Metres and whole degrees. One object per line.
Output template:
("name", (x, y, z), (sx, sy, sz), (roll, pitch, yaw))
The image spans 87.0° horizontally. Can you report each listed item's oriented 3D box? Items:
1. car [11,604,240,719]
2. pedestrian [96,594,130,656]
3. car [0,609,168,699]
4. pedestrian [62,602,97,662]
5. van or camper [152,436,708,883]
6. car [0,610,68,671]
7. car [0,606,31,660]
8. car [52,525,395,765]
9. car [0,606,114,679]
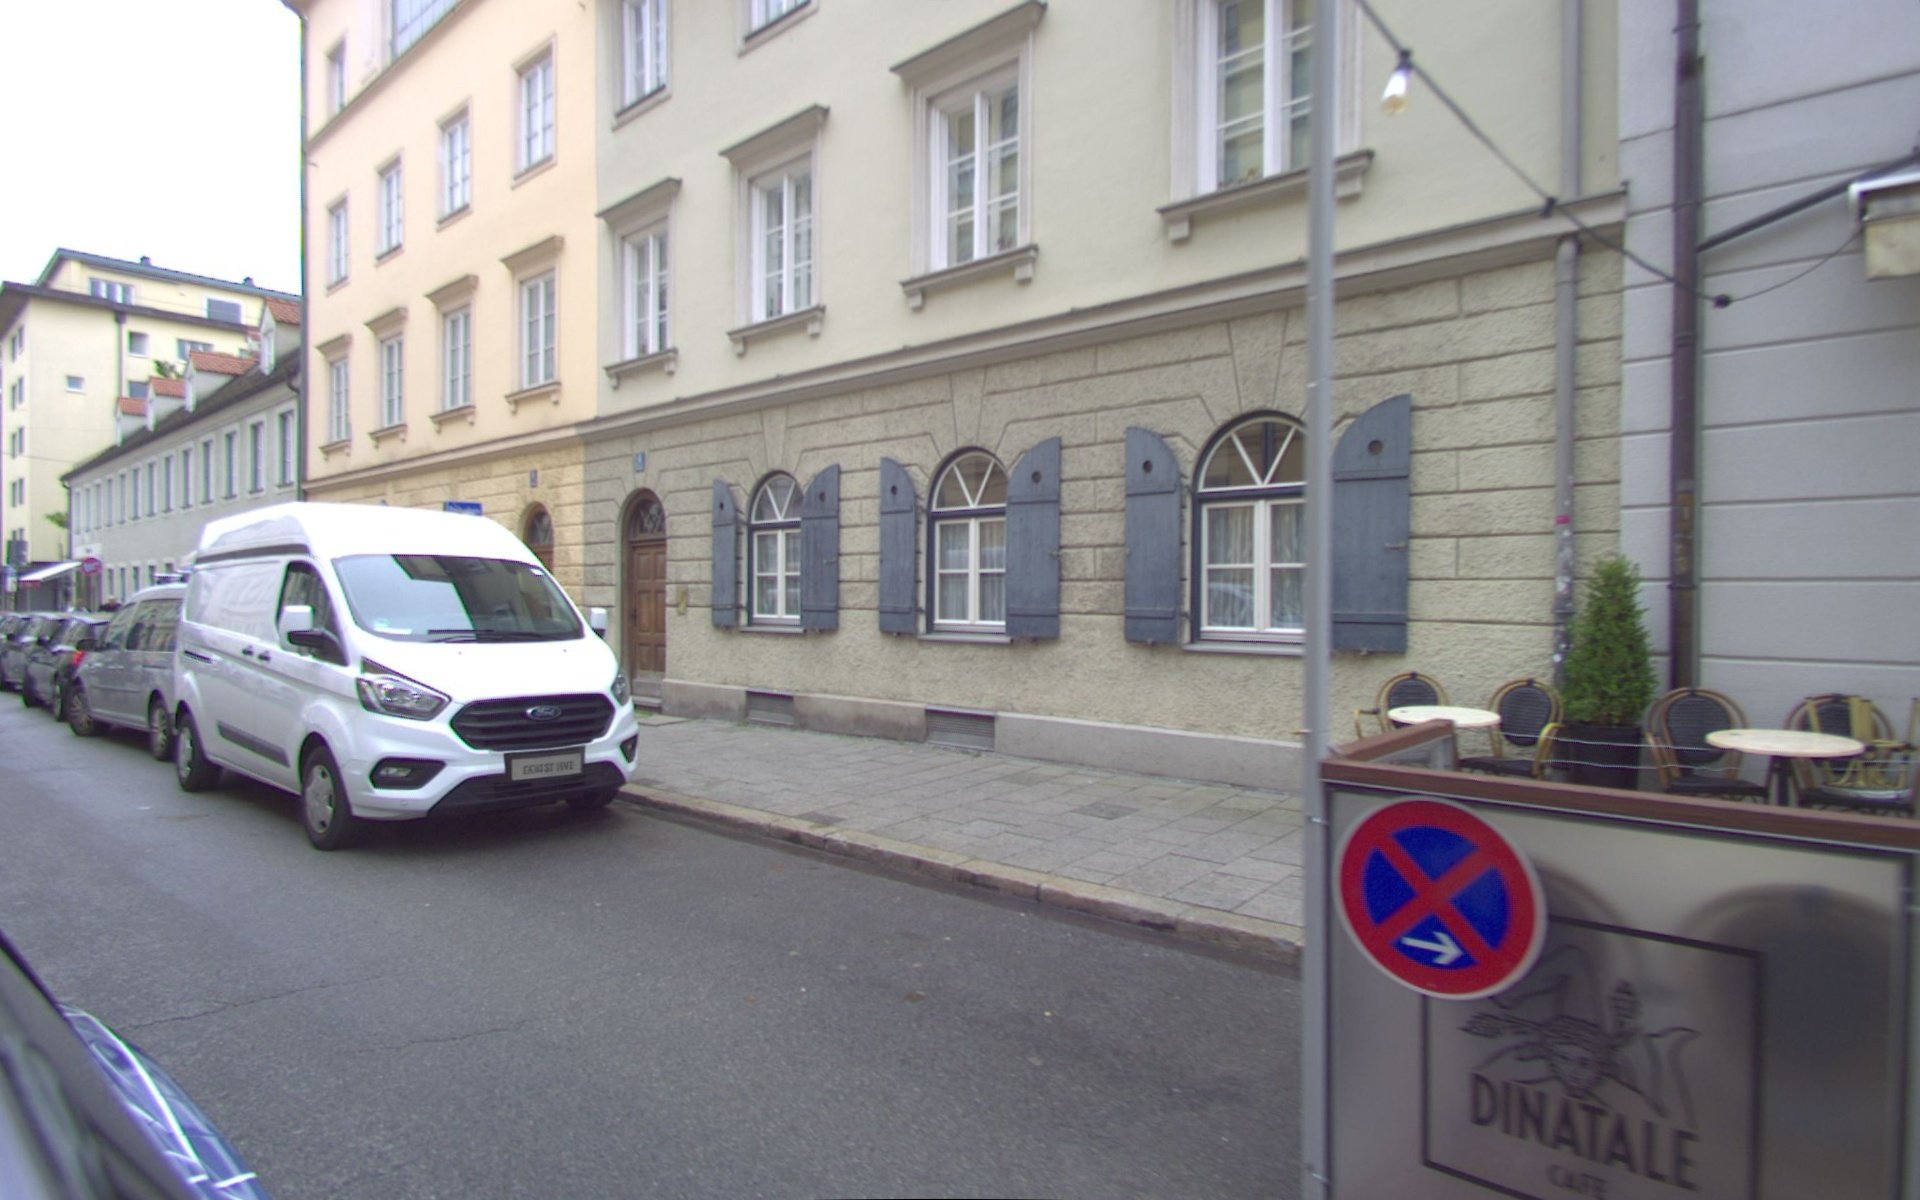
("car", (-12.276, 0.790, 14.794), (4.266, 1.412, 1.839), (0, 0, 40))
("pedestrian", (-23.751, 0.696, 28.372), (0.805, 1.711, 0.574), (-1, -1, 38))
("car", (-16.139, 0.886, 18.383), (4.264, 1.412, 1.839), (0, 0, 39))
("pedestrian", (-24.018, 0.873, 27.619), (0.662, 1.610, 0.607), (-1, -1, 38))
("van or camper", (-4.392, 0.339, 7.835), (5.476, 2.329, 1.973), (0, -1, 41))
("car", (-24.080, 0.976, 25.522), (4.267, 1.412, 1.838), (0, 0, 41))
("car", (-28.392, 0.943, 29.415), (3.419, 1.526, 1.554), (0, 0, 39))
("car", (-8.437, 0.415, 11.456), (4.552, 2.218, 1.841), (0, 0, 36))
("car", (-19.939, 0.846, 21.875), (4.266, 1.412, 1.838), (0, 0, 40))
